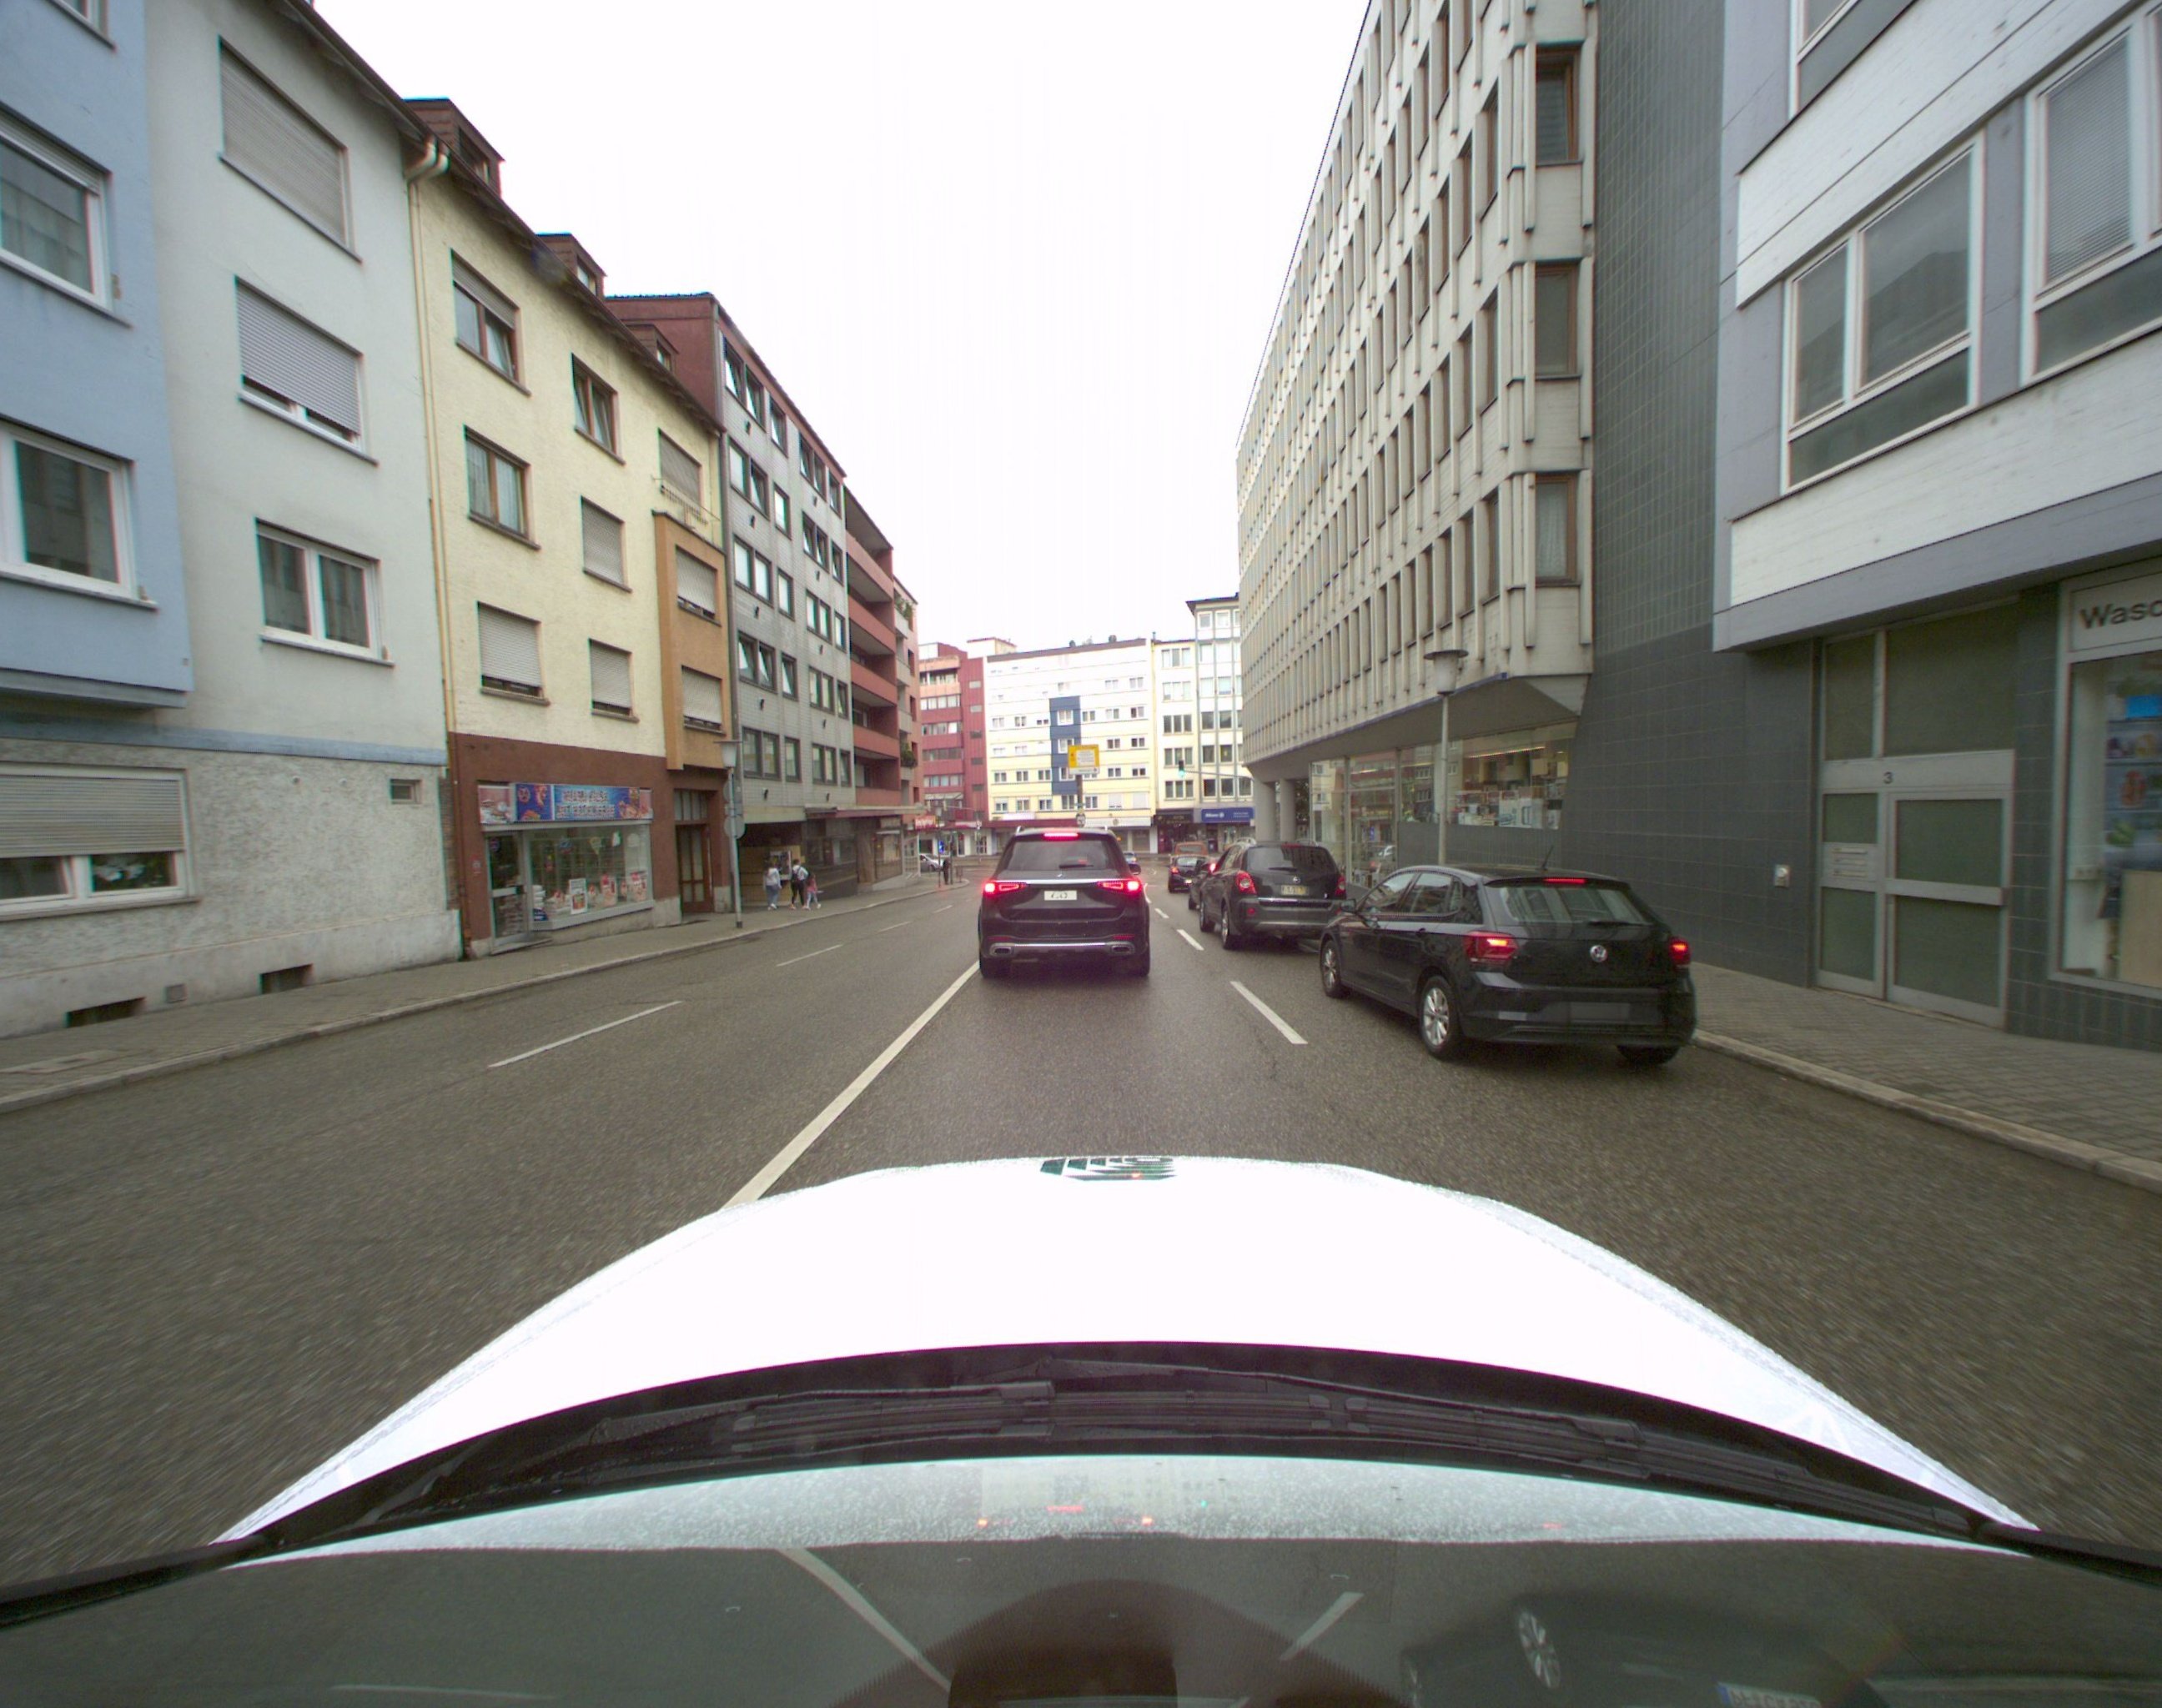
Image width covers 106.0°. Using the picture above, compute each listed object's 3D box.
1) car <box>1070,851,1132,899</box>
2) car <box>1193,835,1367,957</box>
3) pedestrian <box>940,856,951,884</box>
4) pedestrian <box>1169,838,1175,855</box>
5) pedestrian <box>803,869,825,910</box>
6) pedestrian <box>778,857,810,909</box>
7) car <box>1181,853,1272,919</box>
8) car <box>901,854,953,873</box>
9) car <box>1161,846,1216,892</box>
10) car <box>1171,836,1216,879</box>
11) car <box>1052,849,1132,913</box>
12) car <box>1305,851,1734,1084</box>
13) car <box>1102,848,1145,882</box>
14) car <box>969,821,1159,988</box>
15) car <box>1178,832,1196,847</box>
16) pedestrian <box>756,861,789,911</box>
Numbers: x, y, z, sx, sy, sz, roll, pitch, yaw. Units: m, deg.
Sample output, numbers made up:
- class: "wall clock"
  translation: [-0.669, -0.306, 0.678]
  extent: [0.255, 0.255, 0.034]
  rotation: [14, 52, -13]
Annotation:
- class: "car"
  translation: [0.727, 0.672, 28.849]
  extent: [1.986, 1.486, 4.238]
  rotation: [-2, 0, 2]
- class: "car"
  translation: [3.147, 0.589, 13.882]
  extent: [1.891, 1.695, 4.506]
  rotation: [1, 0, 1]
- class: "pedestrian"
  translation: [-8.349, 1.003, 50.092]
  extent: [0.552, 1.697, 0.623]
  rotation: [-2, 0, -2]
- class: "pedestrian"
  translation: [9.206, -0.776, 82.321]
  extent: [0.561, 1.688, 0.758]
  rotation: [-2, 6, 8]
- class: "pedestrian"
  translation: [-8.792, 1.150, 26.807]
  extent: [0.533, 1.323, 0.722]
  rotation: [1, 0, -7]
- class: "pedestrian"
  translation: [-9.525, 0.946, 27.067]
  extent: [0.826, 1.689, 0.722]
  rotation: [1, 0, -8]
- class: "car"
  translation: [3.580, 0.724, 20.739]
  extent: [1.759, 1.397, 4.004]
  rotation: [4, 0, 3]
- class: "car"
  translation: [-13.360, 0.824, 70.674]
  extent: [4.130, 1.592, 1.748]
  rotation: [0, 1, 16]
- class: "car"
  translation: [4.167, 0.568, 32.109]
  extent: [1.815, 1.658, 4.499]
  rotation: [0, -1, 3]
- class: "car"
  translation: [6.107, 0.196, 44.816]
  extent: [2.231, 2.228, 5.437]
  rotation: [0, 0, 5]
- class: "car"
  translation: [0.269, 0.628, 21.400]
  extent: [1.867, 1.494, 4.400]
  rotation: [0, 0, 0]
- class: "car"
  translation: [3.403, 0.731, 7.292]
  extent: [1.683, 1.477, 4.000]
  rotation: [1, 0, 0]
- class: "car"
  translation: [2.007, 0.555, 39.596]
  extent: [1.917, 1.515, 4.664]
  rotation: [1, -1, 2]
- class: "car"
  translation: [-0.176, 0.531, 11.132]
  extent: [2.032, 1.799, 4.662]
  rotation: [0, 0, 0]
- class: "car"
  translation: [12.354, -1.669, 94.991]
  extent: [1.786, 1.670, 4.012]
  rotation: [-2, 0, 10]
- class: "pedestrian"
  translation: [-9.863, 1.007, 26.058]
  extent: [0.826, 1.561, 0.722]
  rotation: [1, 0, -8]
